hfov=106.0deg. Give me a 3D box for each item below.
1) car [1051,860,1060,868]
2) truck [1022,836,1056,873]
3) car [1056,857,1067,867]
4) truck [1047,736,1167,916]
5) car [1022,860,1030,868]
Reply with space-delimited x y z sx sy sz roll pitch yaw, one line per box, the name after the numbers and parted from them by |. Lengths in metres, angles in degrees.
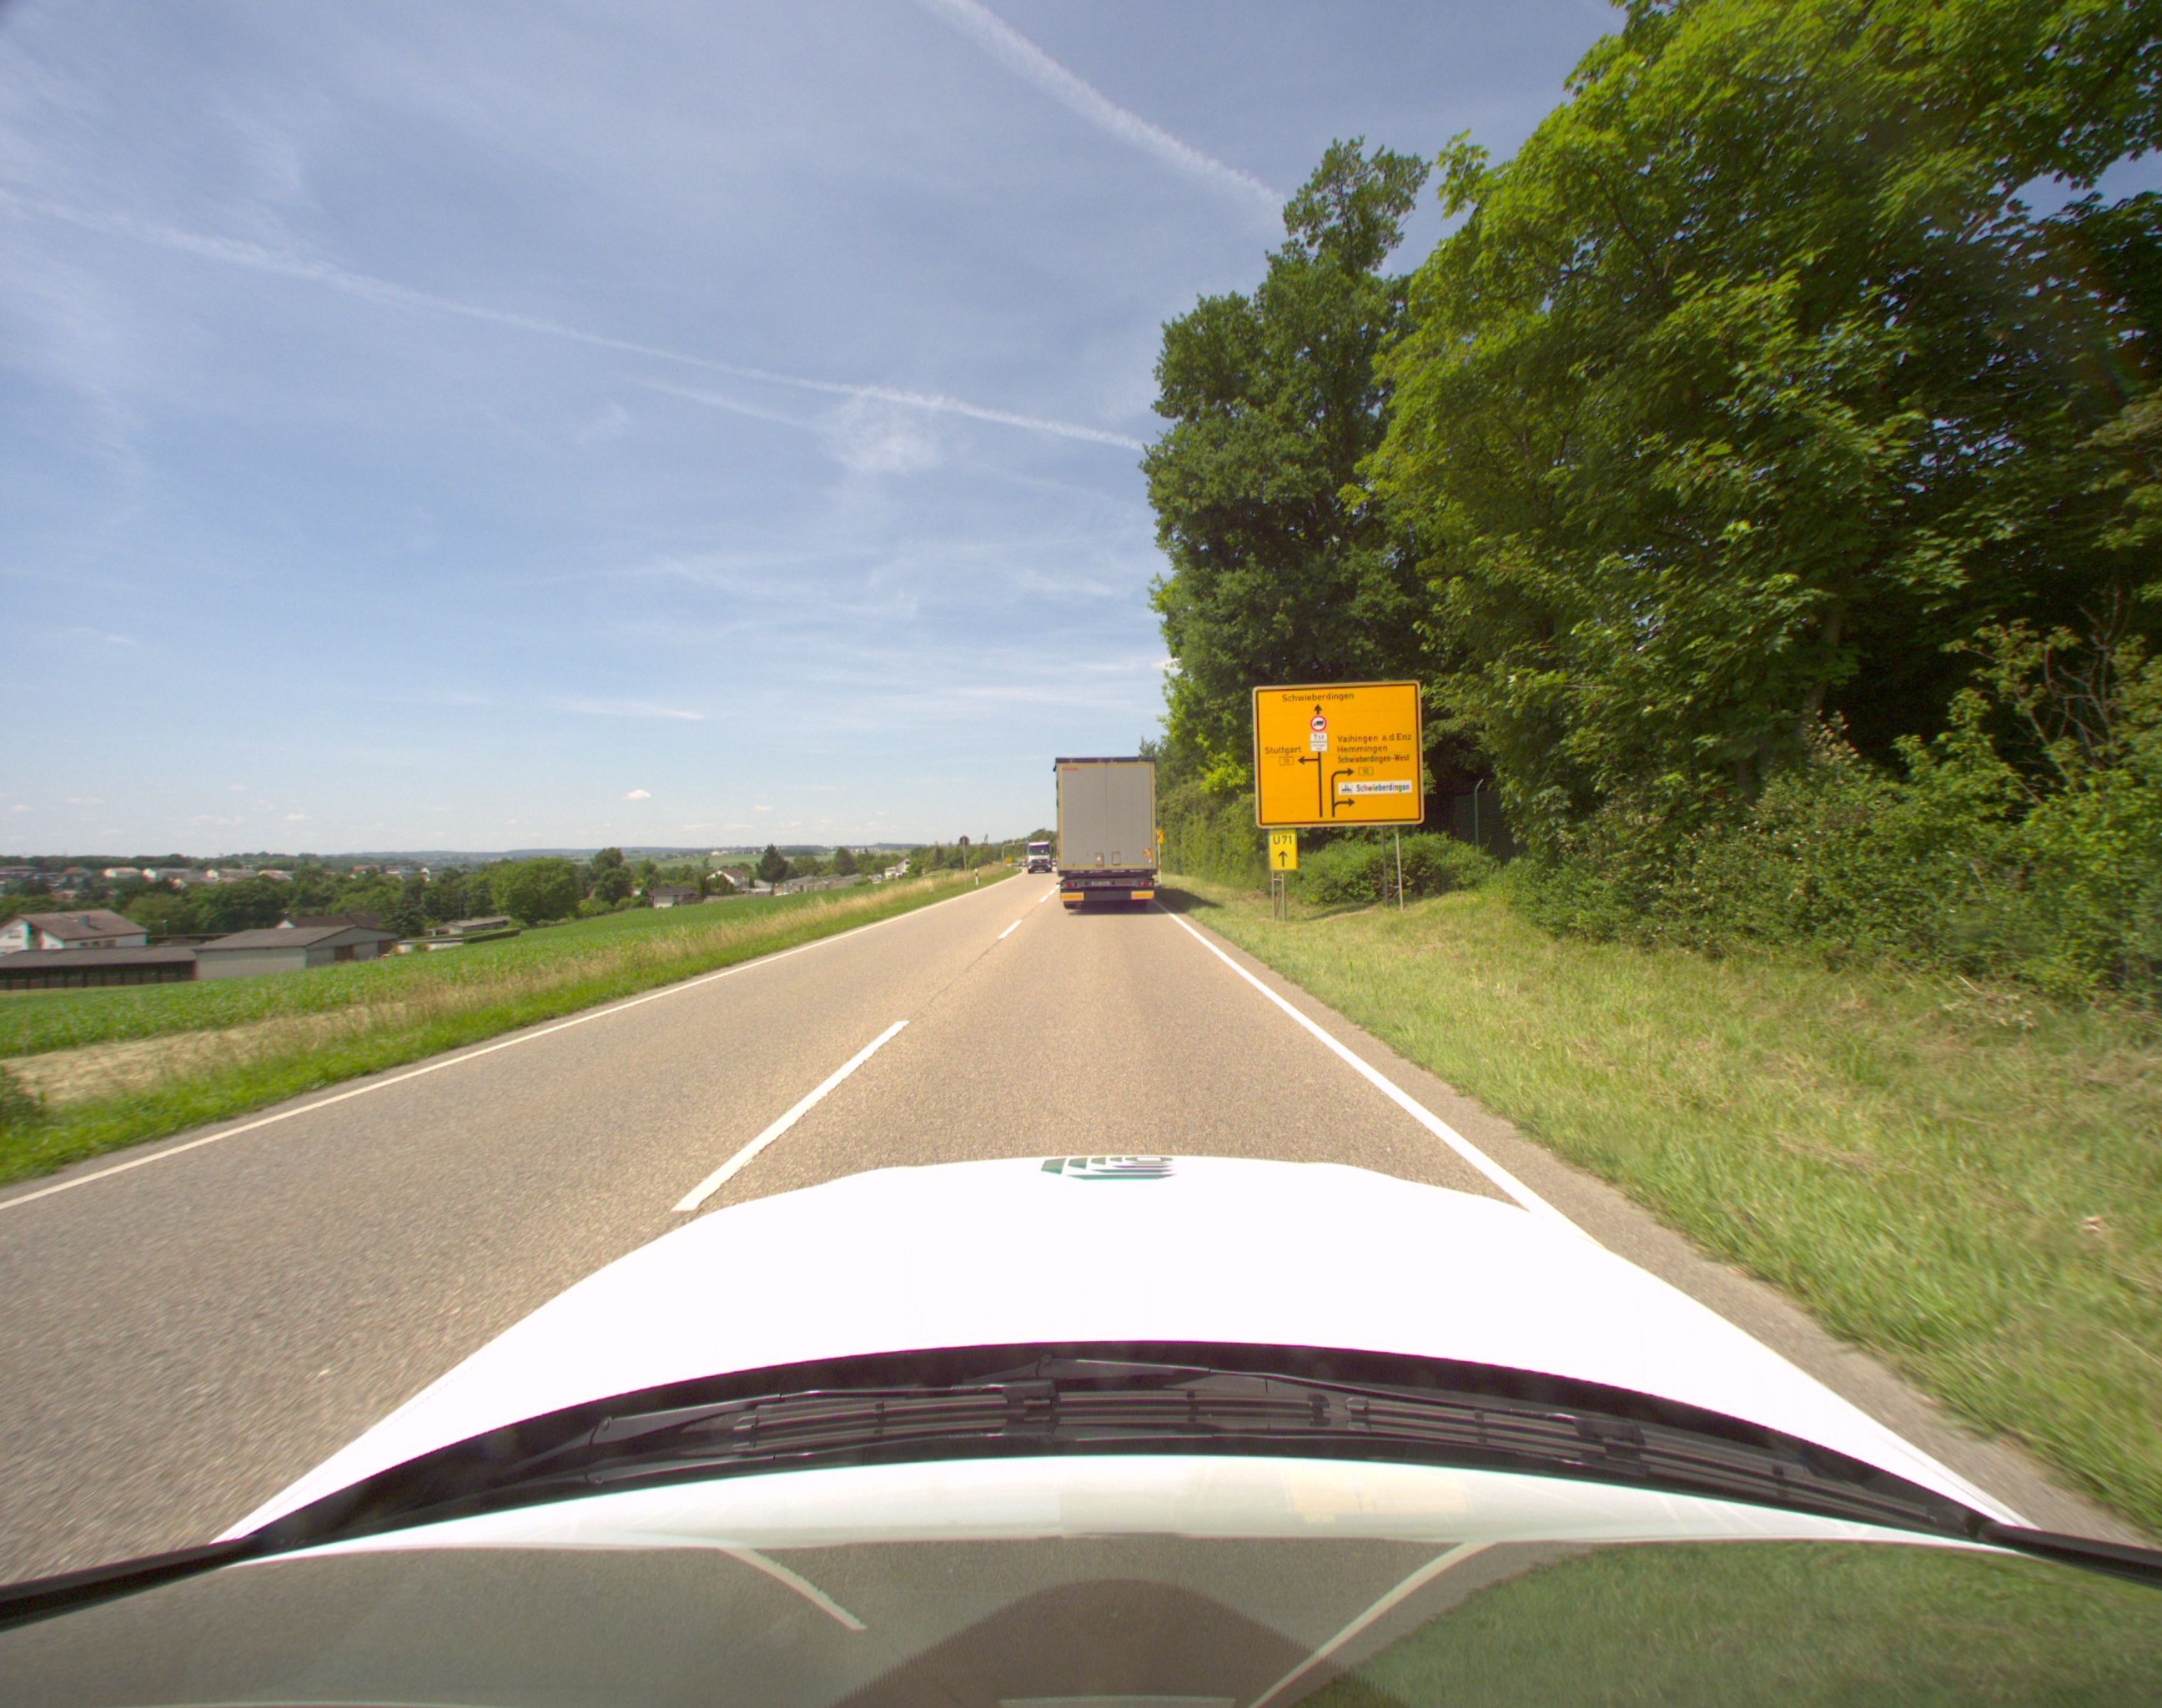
-6.137 2.330 194.915 1.888 1.777 4.380 -4 0 -4 | car
-4.425 0.090 87.952 2.748 3.576 11.063 -4 0 0 | truck
-4.285 1.748 179.597 2.167 2.013 4.520 -4 0 -4 | car
0.591 -0.692 24.603 2.898 4.410 8.856 -1 0 -1 | truck
-13.660 2.477 201.626 1.990 1.950 4.495 -4 0 -4 | car
